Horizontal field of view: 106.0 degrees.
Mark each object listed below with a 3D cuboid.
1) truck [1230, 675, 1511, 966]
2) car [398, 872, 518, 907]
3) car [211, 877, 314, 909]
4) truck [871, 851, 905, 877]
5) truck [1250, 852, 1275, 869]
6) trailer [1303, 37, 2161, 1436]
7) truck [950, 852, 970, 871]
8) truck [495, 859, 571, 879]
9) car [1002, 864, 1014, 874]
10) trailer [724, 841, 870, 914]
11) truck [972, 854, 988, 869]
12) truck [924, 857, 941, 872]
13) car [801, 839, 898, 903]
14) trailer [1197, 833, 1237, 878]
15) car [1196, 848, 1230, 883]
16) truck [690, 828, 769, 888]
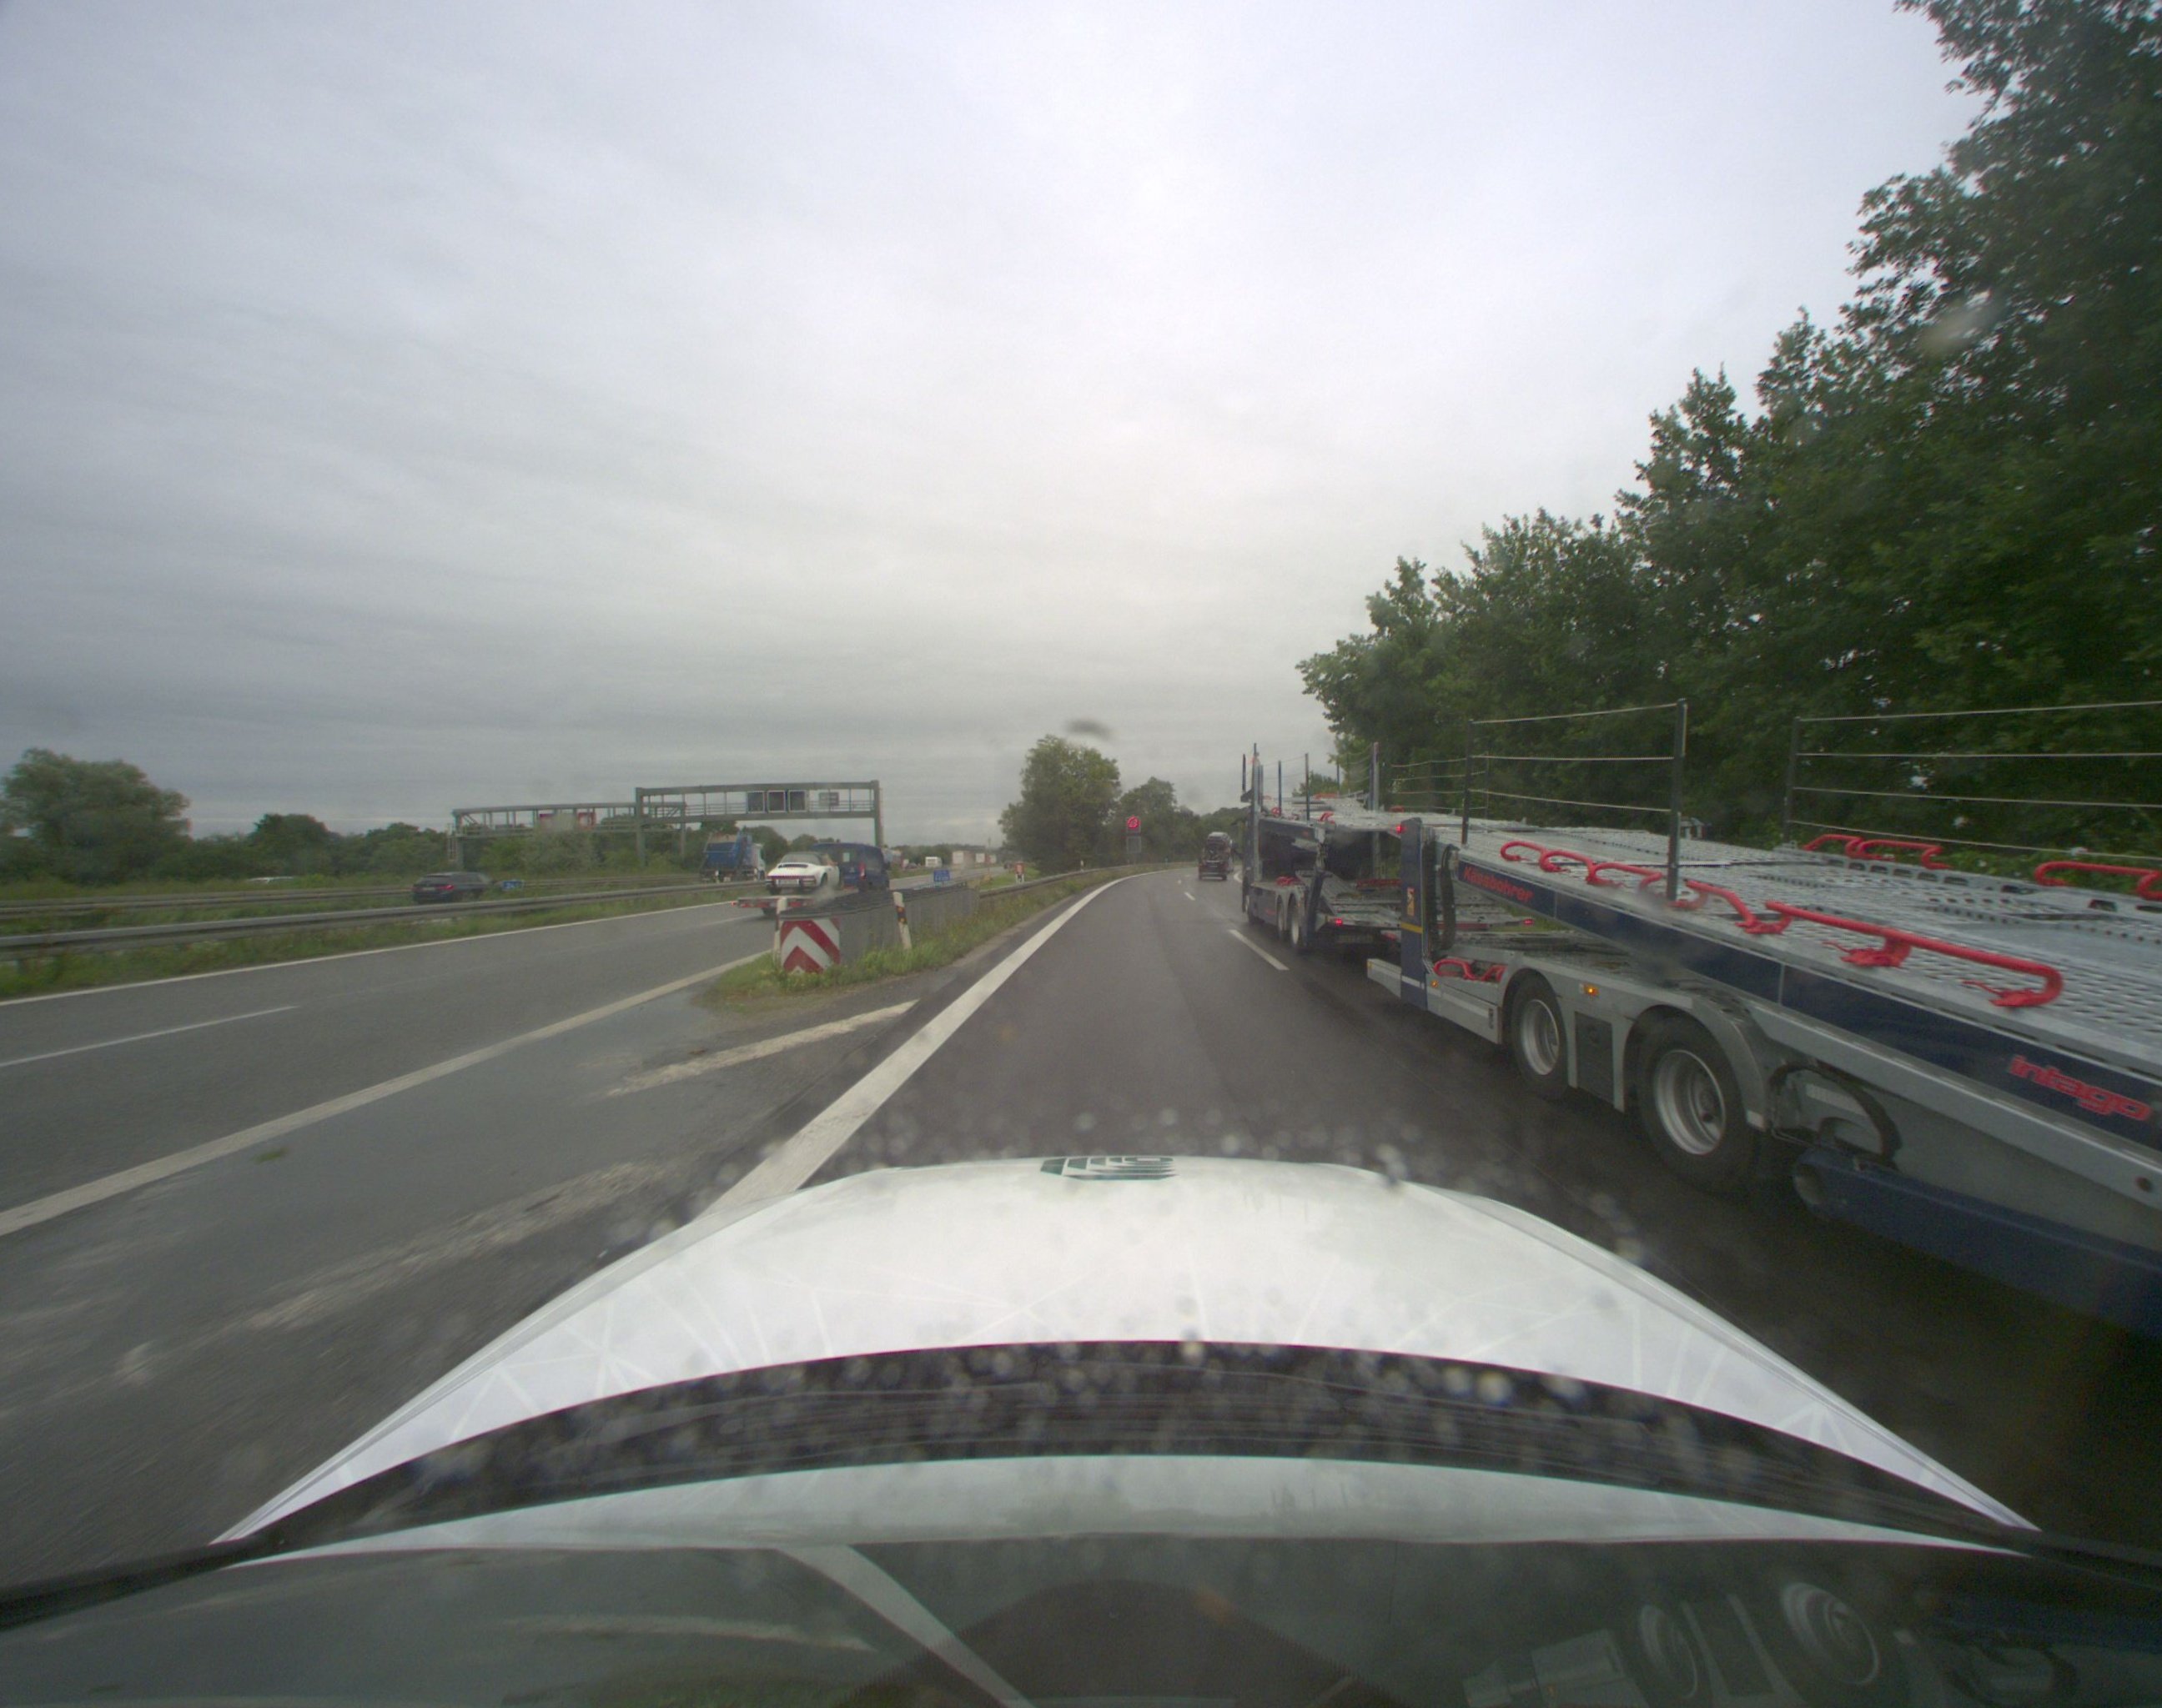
[{"bbox_3d":[4.774,-0.418,15.713,2.726,3.968,9.137,0,0,4],"label":"truck"},{"bbox_3d":[-27.109,1.518,35.689,1.800,1.391,4.767,0,-1,-4],"label":"car"},{"bbox_3d":[-46.955,2.195,46.843,1.846,1.728,3.998,0,-1,-1],"label":"car"},{"bbox_3d":[-26.061,1.311,110.188,2.850,3.365,8.621,0,-1,-3],"label":"truck"},{"bbox_3d":[29.261,1.040,131.175,2.624,2.605,6.456,-1,-1,25],"label":"truck"},{"bbox_3d":[4.145,-0.250,5.885,2.766,3.285,10.415,0,0,3],"label":"trailer"},{"bbox_3d":[-28.607,1.839,193.493,3.724,4.417,10.183,0,-1,-3],"label":"truck"},{"bbox_3d":[-56.234,1.552,83.848,1.988,2.014,8.809,0,-1,-1],"label":"truck"},{"bbox_3d":[-13.115,2.682,146.194,1.957,1.637,5.618,0,-1,-3],"label":"car"},{"bbox_3d":[-8.652,0.678,25.729,2.479,1.994,7.054,0,-1,-3],"label":"trailer"},{"bbox_3d":[-29.951,2.252,242.419,3.724,4.417,11.883,0,-1,-3],"label":"truck"},{"bbox_3d":[-27.344,1.896,150.118,2.238,2.704,5.273,0,-1,-3],"label":"truck"},{"bbox_3d":[-9.020,0.639,32.353,2.367,2.266,6.249,0,-1,-3],"label":"car"},{"bbox_3d":[13.393,0.136,80.219,3.428,3.999,12.058,2,0,9],"label":"trailer"},{"bbox_3d":[8.996,0.762,55.245,2.097,2.265,5.912,-1,-1,10],"label":"car"},{"bbox_3d":[-23.628,0.310,55.156,2.633,3.813,7.332,0,-1,-4],"label":"truck"}]
